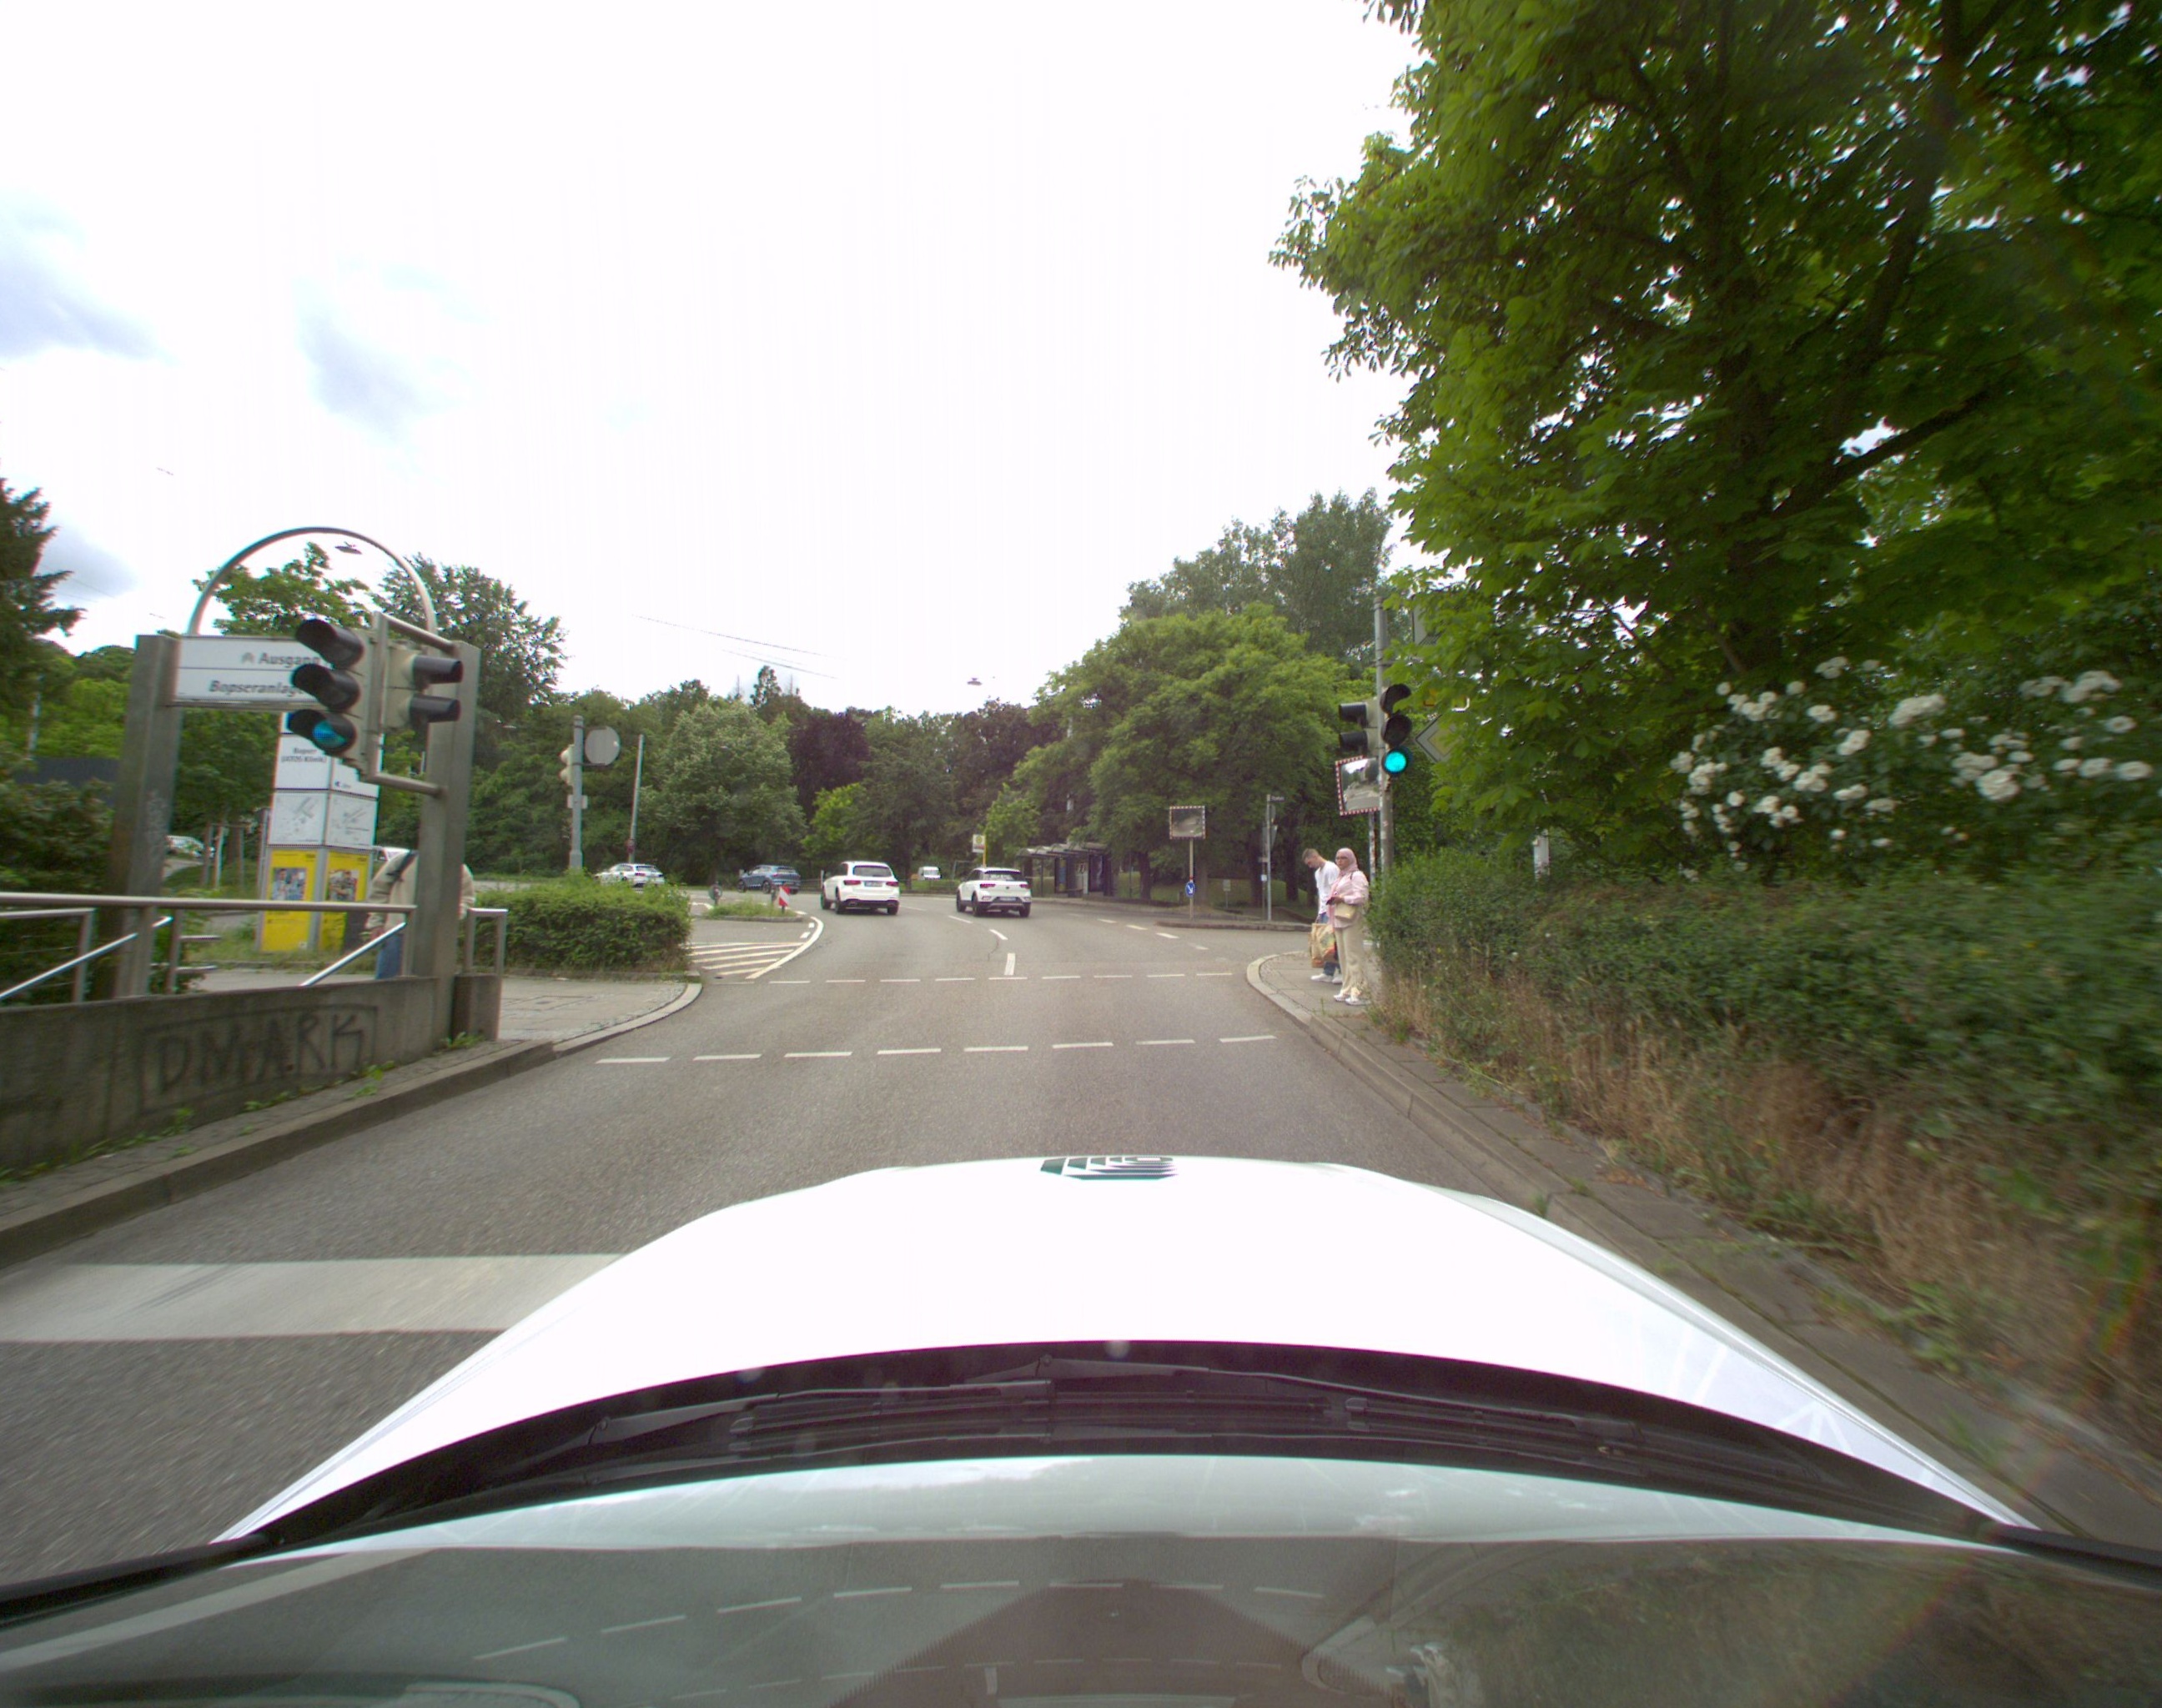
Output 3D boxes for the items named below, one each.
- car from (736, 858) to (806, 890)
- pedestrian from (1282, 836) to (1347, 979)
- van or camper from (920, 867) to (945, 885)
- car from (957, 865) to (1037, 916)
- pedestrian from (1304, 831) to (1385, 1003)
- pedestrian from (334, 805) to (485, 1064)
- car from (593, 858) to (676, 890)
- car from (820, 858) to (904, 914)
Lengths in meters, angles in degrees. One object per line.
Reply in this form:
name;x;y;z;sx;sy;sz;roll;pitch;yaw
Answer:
car;-16.964;1.074;44.551;3.908;1.632;1.878;0;-3;41
pedestrian;2.913;0.657;10.206;0.612;1.712;0.728;-2;-1;5
van or camper;-18.007;2.677;98.306;2.309;2.014;5.409;3;-2;-17
car;-2.852;1.156;26.826;1.869;1.556;3.871;1;-1;-18
pedestrian;2.736;0.639;8.520;0.612;1.712;0.728;-2;-1;5
pedestrian;-5.150;0.581;6.266;0.699;1.861;0.617;-1;-1;21
car;-24.774;1.089;45.169;4.252;1.519;2.268;1;-5;34
car;-7.153;1.013;26.318;1.886;1.652;4.305;2;-2;-25
